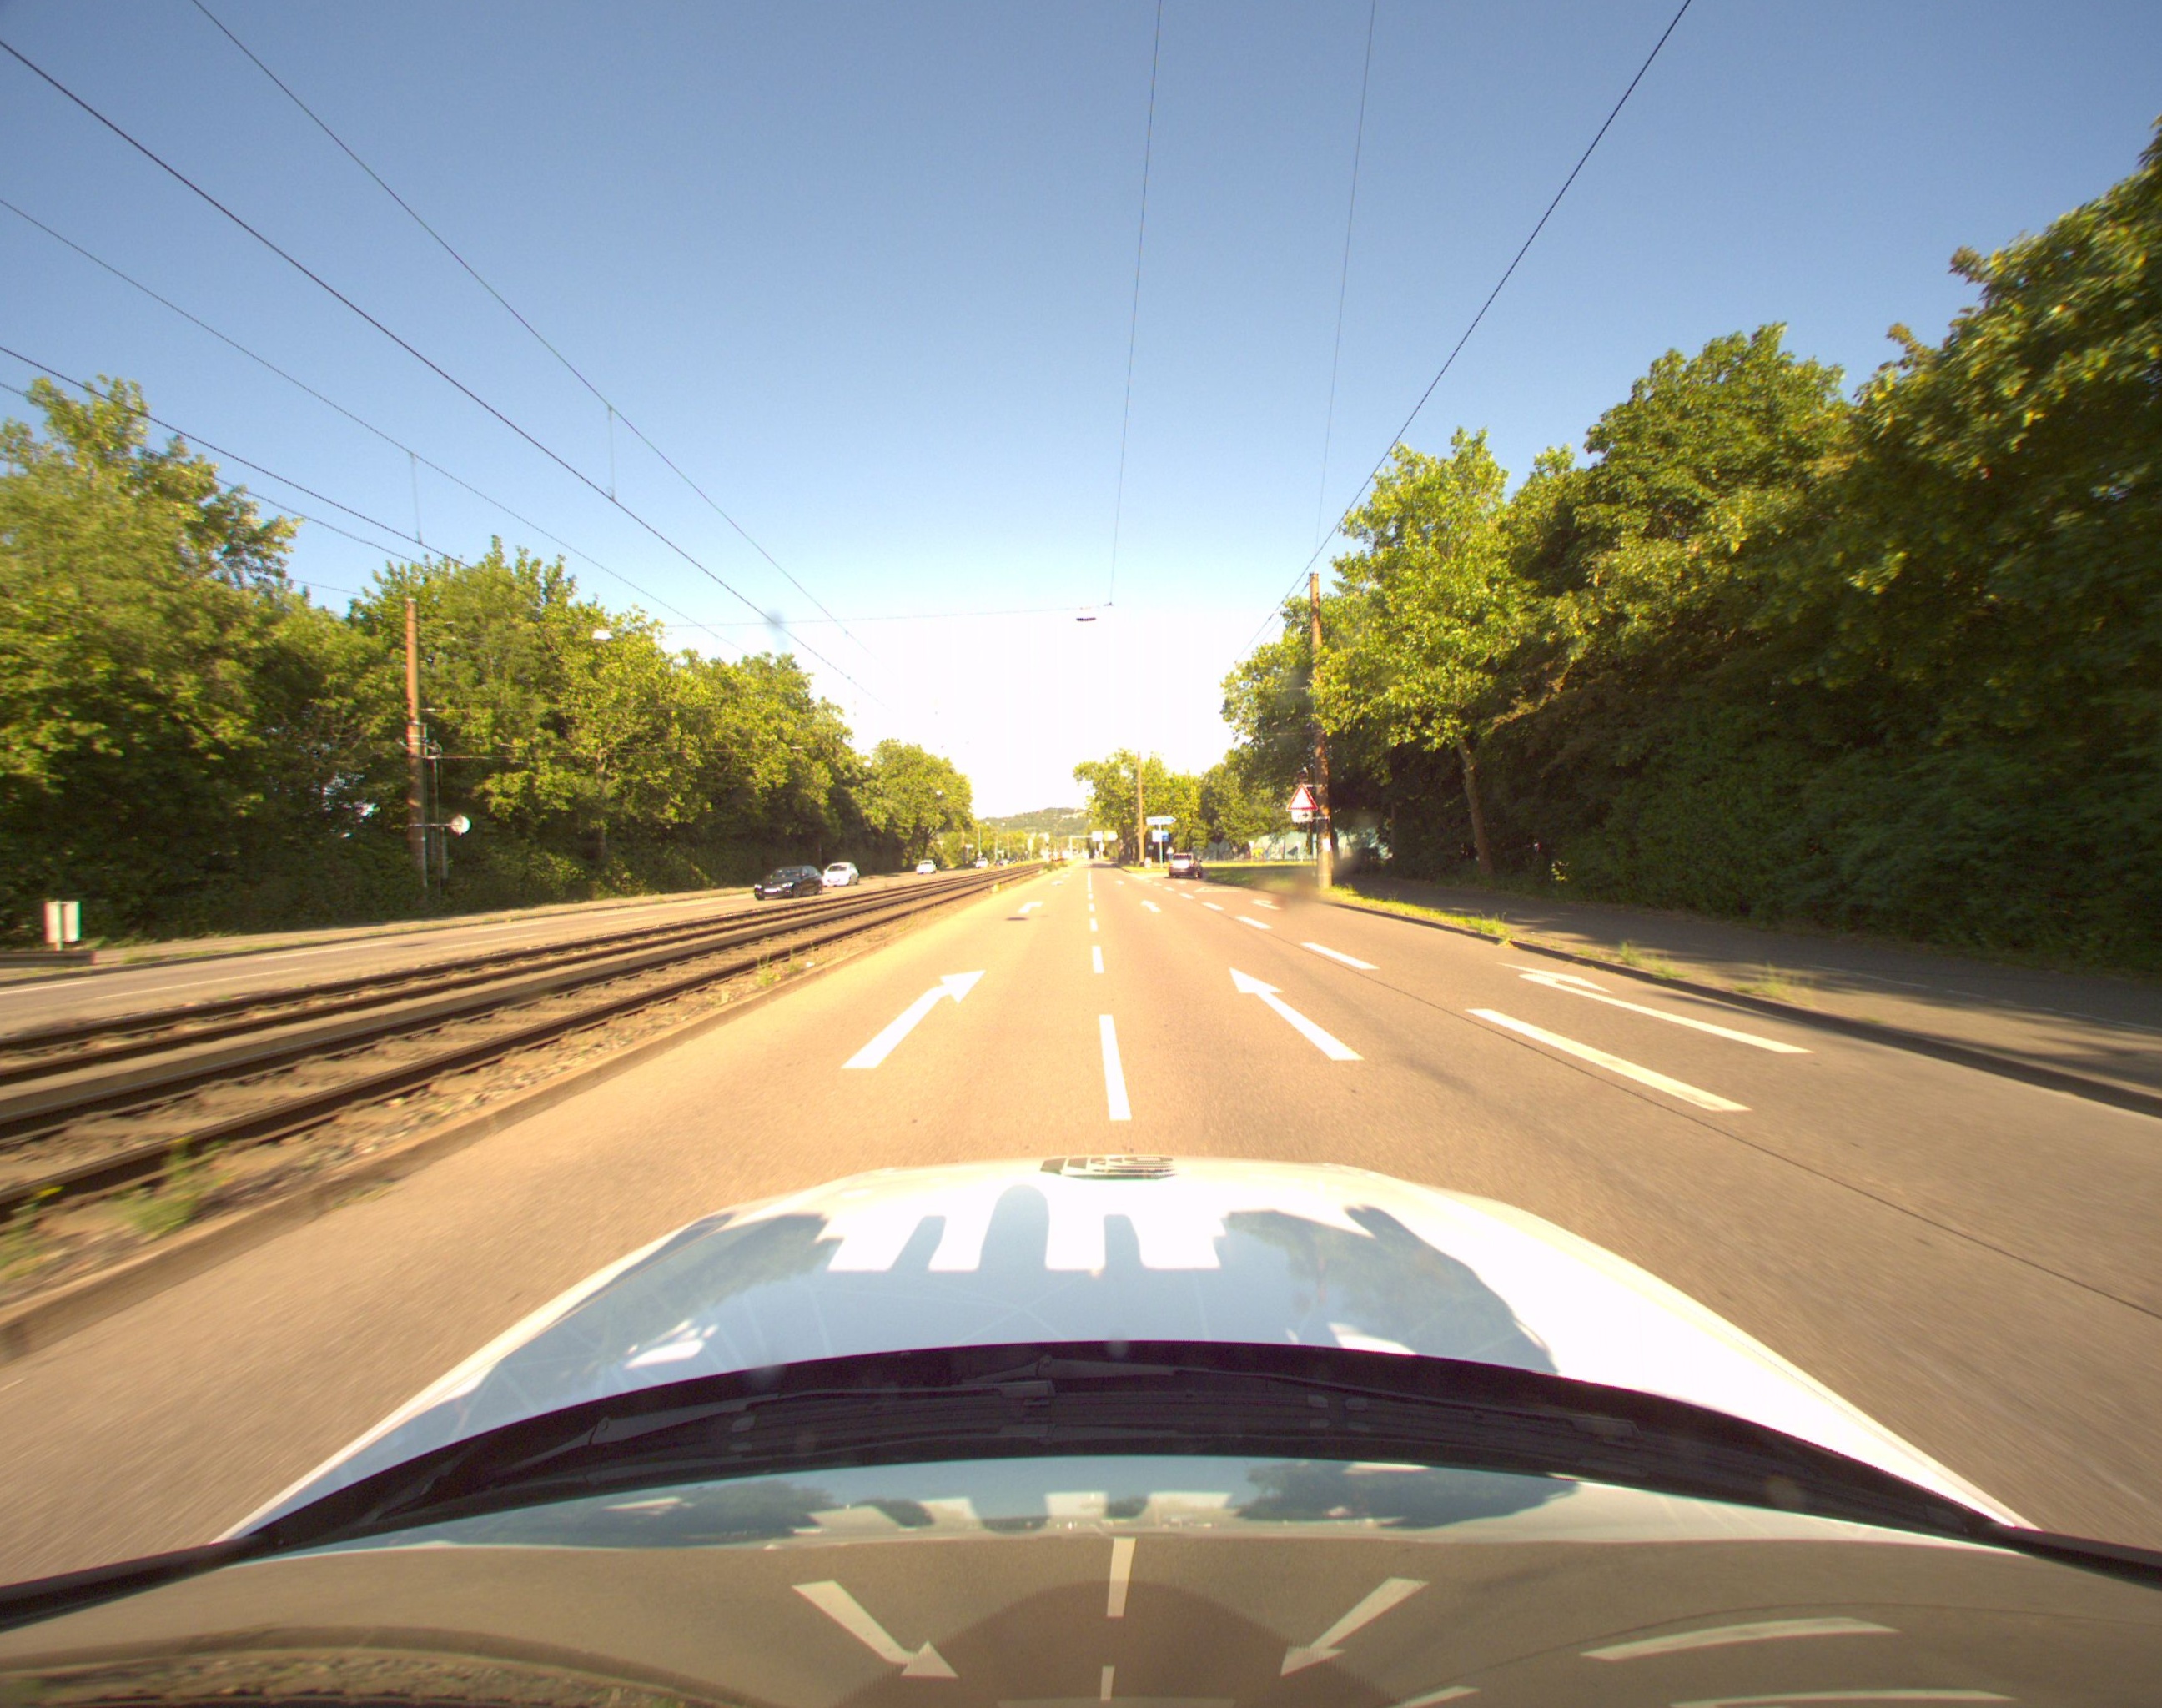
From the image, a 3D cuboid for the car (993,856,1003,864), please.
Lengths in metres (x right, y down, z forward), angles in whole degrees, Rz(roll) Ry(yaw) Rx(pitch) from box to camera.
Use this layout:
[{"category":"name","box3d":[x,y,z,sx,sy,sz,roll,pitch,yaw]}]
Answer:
[{"category":"car","box3d":[-17.927,1.272,176.633,1.706,1.468,4.345,-4,0,-2]}]

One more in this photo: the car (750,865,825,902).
[{"category":"car","box3d":[-13.298,1.302,37.205,1.651,1.432,4.502,-4,0,1]}]

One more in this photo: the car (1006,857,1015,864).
[{"category":"car","box3d":[-18.257,1.617,210.107,1.893,1.694,4.937,-4,0,-2]}]

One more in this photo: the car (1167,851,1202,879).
[{"category":"car","box3d":[6.993,0.703,54.599,1.796,1.773,3.877,-1,0,14]}]

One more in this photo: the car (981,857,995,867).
[{"category":"car","box3d":[-16.328,1.423,143.053,1.958,1.707,4.940,-4,0,-2]}]

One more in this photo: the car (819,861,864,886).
[{"category":"car","box3d":[-16.353,1.300,55.842,1.685,1.556,4.191,-4,0,1]}]

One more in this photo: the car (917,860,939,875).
[{"category":"car","box3d":[-19.041,1.694,101.521,1.842,1.733,4.926,-4,0,-3]}]
